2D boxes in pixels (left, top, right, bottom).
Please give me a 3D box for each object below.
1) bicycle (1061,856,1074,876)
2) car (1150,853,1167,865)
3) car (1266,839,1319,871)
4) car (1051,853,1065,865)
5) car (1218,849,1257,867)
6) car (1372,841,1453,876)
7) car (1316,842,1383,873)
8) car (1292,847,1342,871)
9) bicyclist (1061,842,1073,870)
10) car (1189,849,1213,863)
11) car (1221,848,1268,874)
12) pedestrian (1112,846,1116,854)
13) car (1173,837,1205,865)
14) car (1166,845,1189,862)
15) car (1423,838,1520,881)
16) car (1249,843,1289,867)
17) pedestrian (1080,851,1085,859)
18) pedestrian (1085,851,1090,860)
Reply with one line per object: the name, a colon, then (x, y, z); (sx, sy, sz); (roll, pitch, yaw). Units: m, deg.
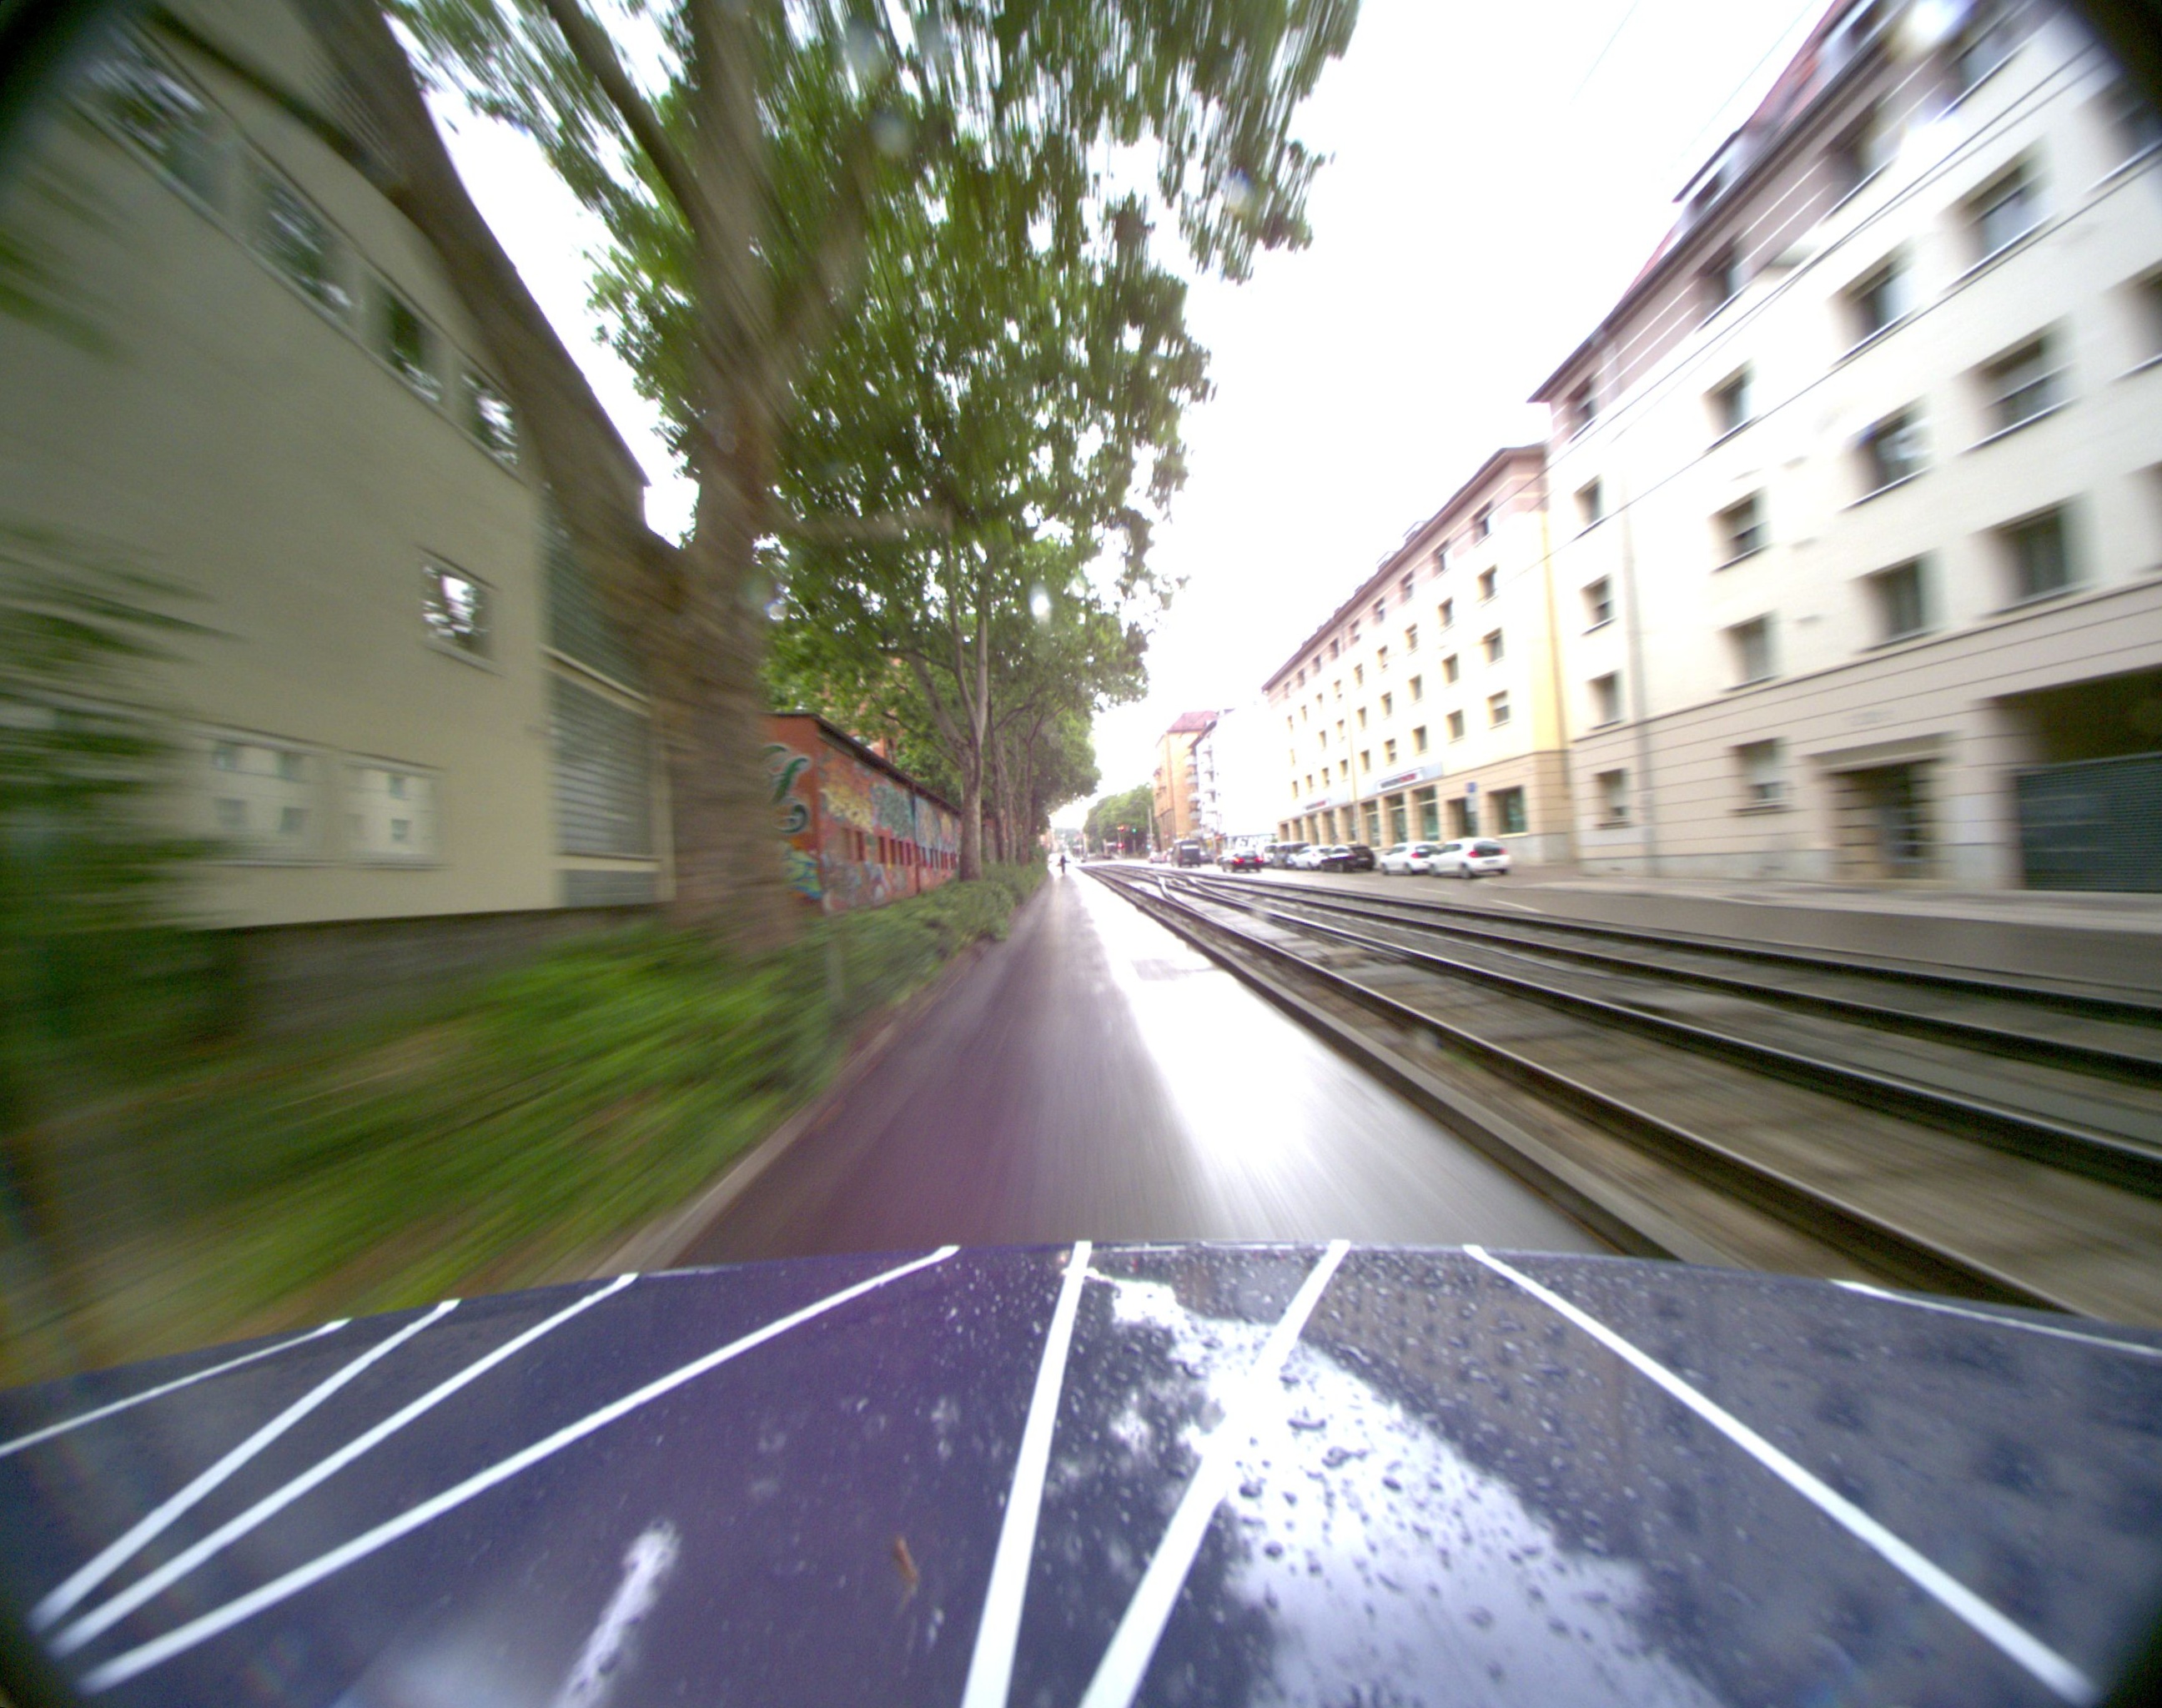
bicycle: (-1.102, 0.989, 64.037); (0.936, 1.545, 3.135); (-2, 0, 1)
car: (9.935, 0.615, 97.751); (1.716, 1.454, 4.280); (-3, 0, -1)
car: (14.430, 0.034, 52.207); (1.998, 1.894, 5.459); (-5, 0, 1)
car: (-3.410, 0.722, 111.332); (1.884, 1.439, 3.999); (-4, 1, -2)
car: (14.056, 0.341, 68.541); (1.857, 1.499, 4.988); (-3, 1, -7)
car: (15.023, 0.211, 34.705); (1.708, 1.388, 3.934); (-4, 0, -4)
car: (14.557, 0.178, 41.463); (1.818, 1.490, 4.581); (-5, 0, -2)
car: (14.541, 0.297, 47.016); (1.696, 1.431, 4.048); (0, 0, -2)
bicyclist: (-1.181, 0.173, 64.030); (0.921, 2.250, 1.287); (-3, 1, 0)
car: (13.022, 0.191, 82.629); (1.684, 1.388, 4.621); (-3, 1, -3)
car: (10.596, 0.426, 49.671); (1.885, 1.477, 4.853); (-3, 0, -1)
pedestrian: (9.036, -1.088, 206.975); (0.837, 2.050, 0.884); (-3, 1, -5)
car: (10.248, -0.302, 72.456); (1.999, 2.438, 5.996); (-3, 1, -1)
car: (13.044, -0.069, 103.027); (2.075, 1.997, 5.301); (-6, 0, -2)
car: (15.180, 0.193, 29.740); (1.713, 1.441, 3.540); (-5, 1, -4)
car: (14.370, 0.066, 58.219); (1.872, 1.707, 4.459); (-3, 1, 0)
pedestrian: (0.366, 0.295, 158.138); (0.837, 1.595, 1.001); (-3, 1, -3)
pedestrian: (1.277, 0.241, 158.021); (0.827, 1.788, 1.001); (-3, 1, -3)
